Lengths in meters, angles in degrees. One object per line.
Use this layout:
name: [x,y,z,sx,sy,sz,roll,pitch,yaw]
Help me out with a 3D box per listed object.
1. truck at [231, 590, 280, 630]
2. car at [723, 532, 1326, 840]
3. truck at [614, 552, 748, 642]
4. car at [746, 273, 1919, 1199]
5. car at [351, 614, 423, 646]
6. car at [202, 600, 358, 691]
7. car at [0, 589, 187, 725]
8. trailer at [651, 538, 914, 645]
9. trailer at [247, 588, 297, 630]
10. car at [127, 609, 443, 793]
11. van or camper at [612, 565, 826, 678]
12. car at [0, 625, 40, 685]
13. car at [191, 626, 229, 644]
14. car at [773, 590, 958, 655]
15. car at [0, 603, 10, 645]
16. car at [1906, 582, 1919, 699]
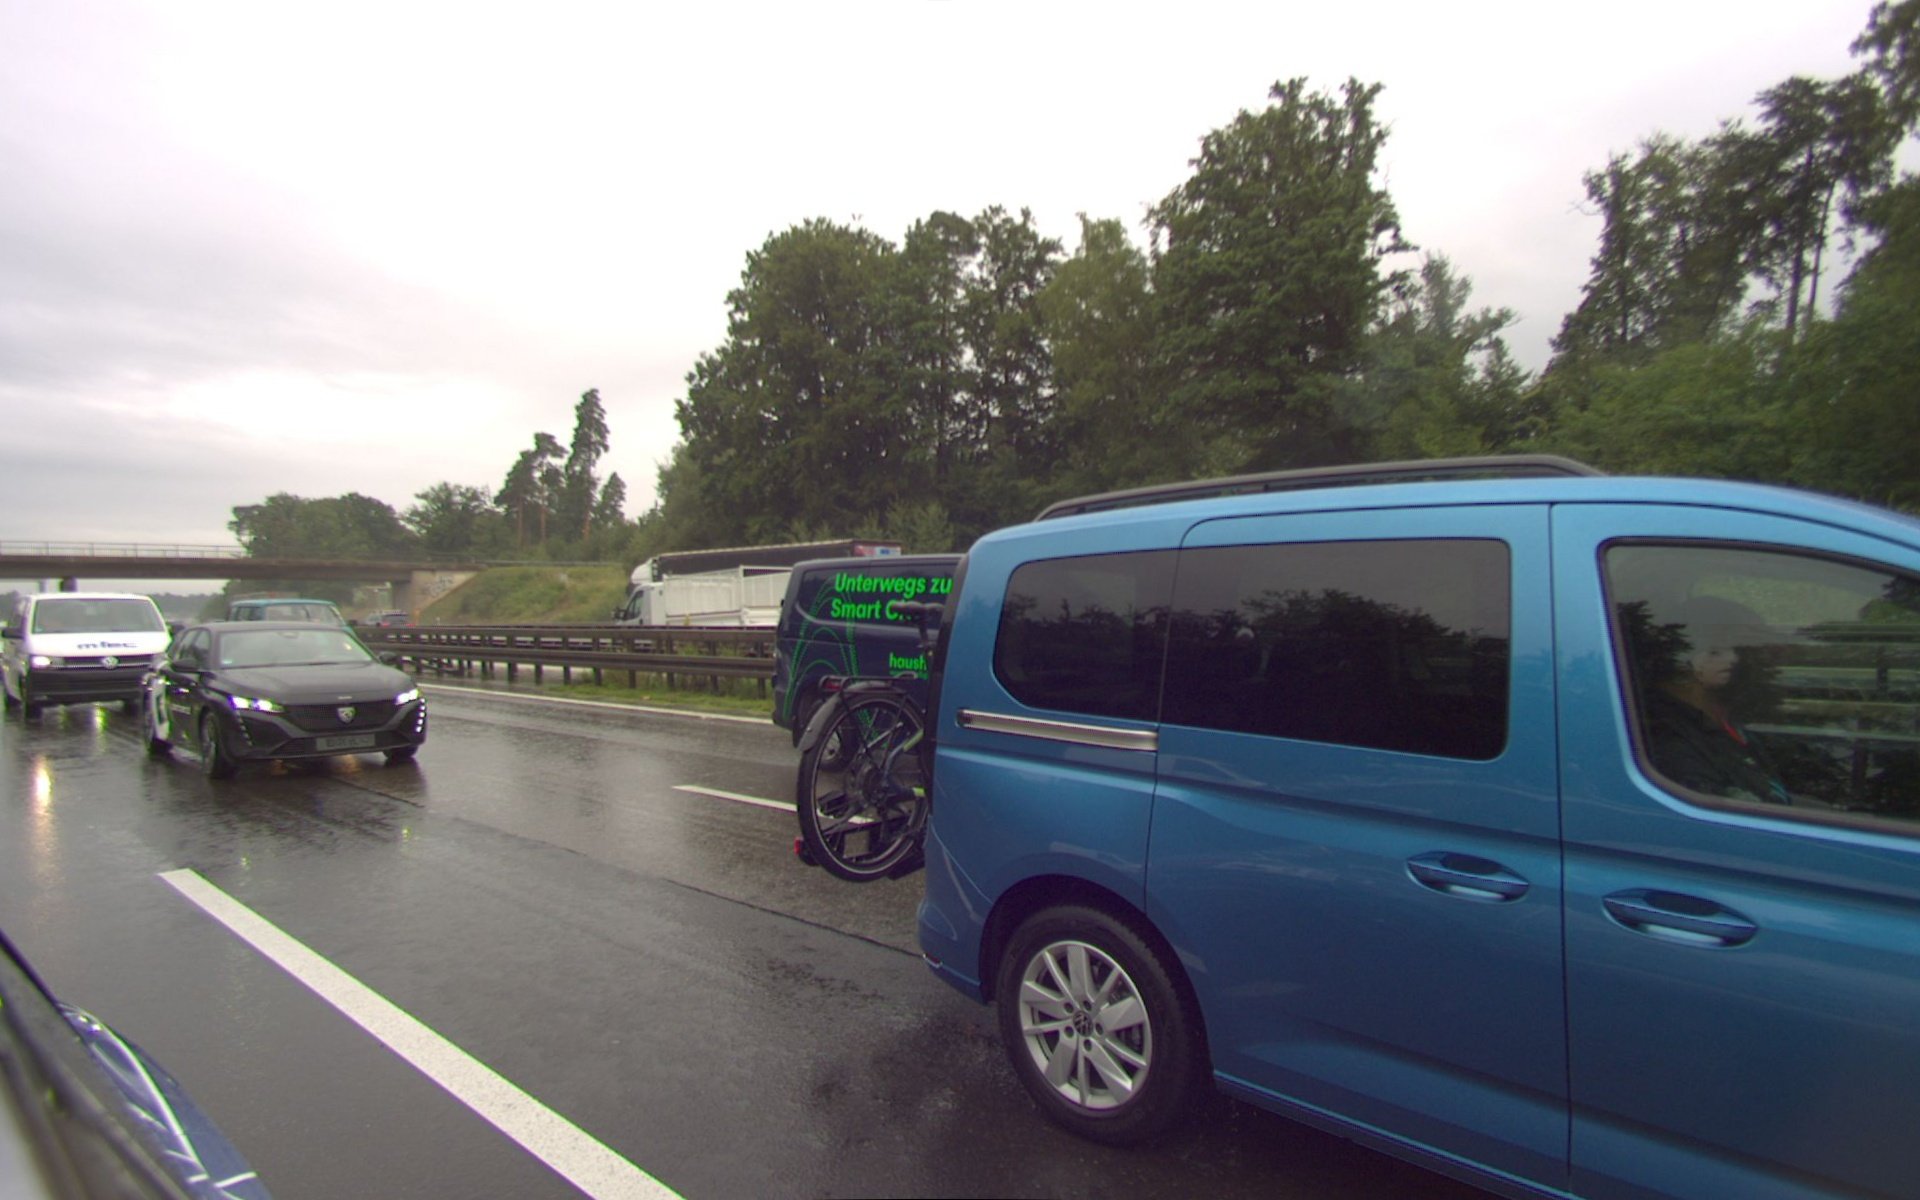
truck: [-72.833,1.120,104.553,2.672,3.961,10.036,0,-1,-43]
car: [0.262,0.577,8.960,5.241,1.958,1.970,-1,0,42]
truck: [-12.918,-0.068,46.590,6.261,3.847,2.989,-2,-1,41]
car: [1.859,0.455,2.779,5.013,1.926,2.246,-2,-1,42]
car: [-29.108,1.514,51.385,4.329,1.509,1.817,-2,-1,41]
car: [-15.838,0.982,23.463,4.758,1.877,1.890,-1,0,42]
car: [-14.278,0.845,16.460,4.767,1.894,1.968,-2,-1,43]
trailer: [-7.819,-0.186,41.992,13.555,3.847,2.992,-2,-1,42]
trailer: [-66.495,0.935,97.757,2.651,3.847,9.015,0,-1,-43]
car: [-7.253,0.886,10.668,4.467,1.516,1.825,-1,-1,43]
van or camper: [-5.973,0.505,24.596,5.699,2.441,2.204,-1,-1,42]
car: [-26.409,1.458,27.447,4.467,1.516,1.825,-1,-1,43]
car: [-59.691,2.784,80.513,3.755,1.314,1.683,-2,-1,41]
car: [-2.497,0.590,25.902,4.702,1.519,1.974,-2,-2,39]
car: [-37.512,0.943,38.307,4.767,1.572,1.968,-2,-1,43]
car: [14.440,0.483,11.859,4.702,1.519,1.974,-2,-2,39]
